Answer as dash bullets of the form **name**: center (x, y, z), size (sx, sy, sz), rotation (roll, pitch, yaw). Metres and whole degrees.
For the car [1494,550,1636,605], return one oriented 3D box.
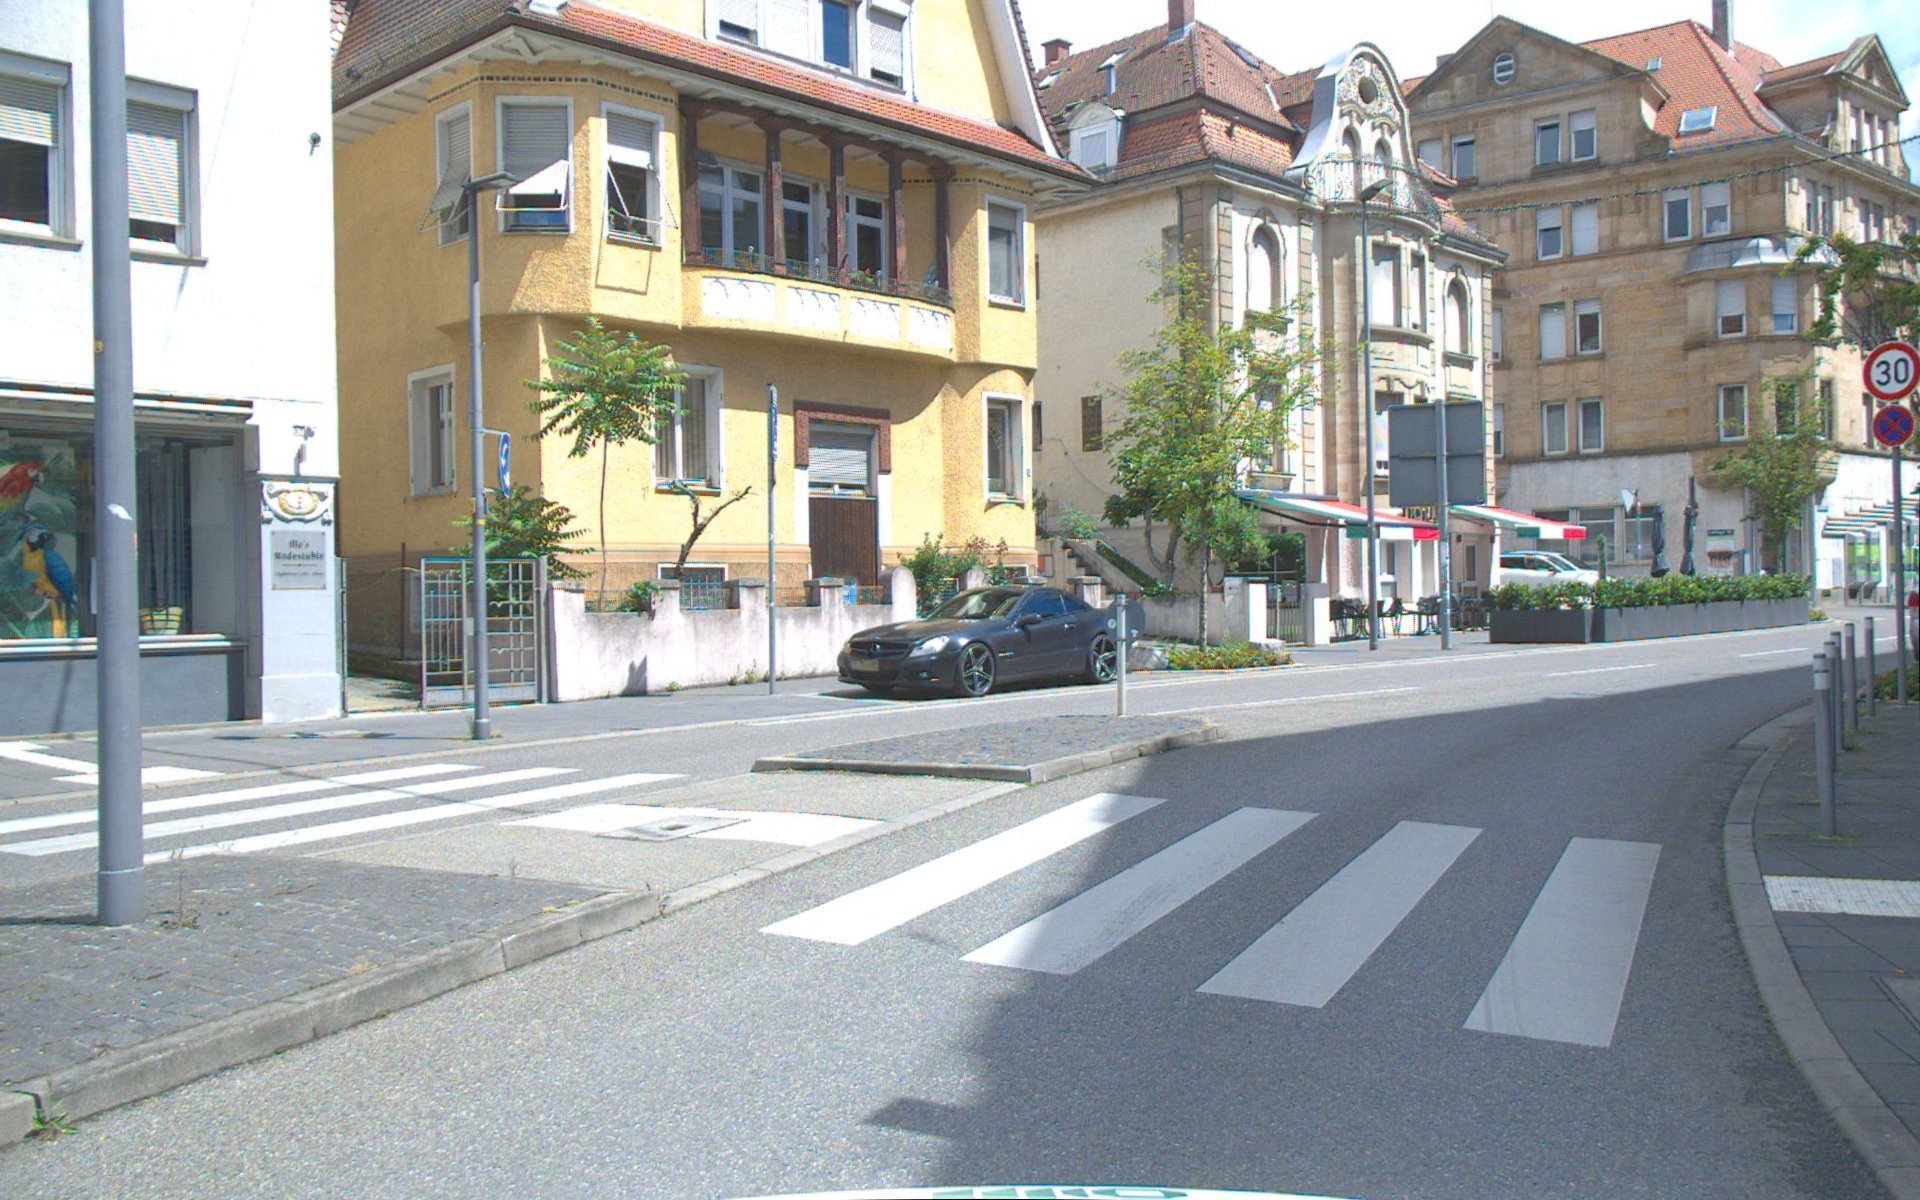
- **car**: center (19.586, -0.710, 53.596), size (3.927, 1.691, 1.899), rotation (-1, 0, 41)

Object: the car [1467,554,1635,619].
- **car**: center (17.202, -0.377, 48.155), size (4.336, 1.806, 1.996), rotation (-1, 0, 30)

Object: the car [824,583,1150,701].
- **car**: center (0.447, 0.464, 21.057), size (1.685, 1.267, 4.384), rotation (0, 1, 42)

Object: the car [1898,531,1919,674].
- **car**: center (13.789, -0.022, 21.201), size (4.197, 1.761, 1.802), rotation (-1, -1, -42)
